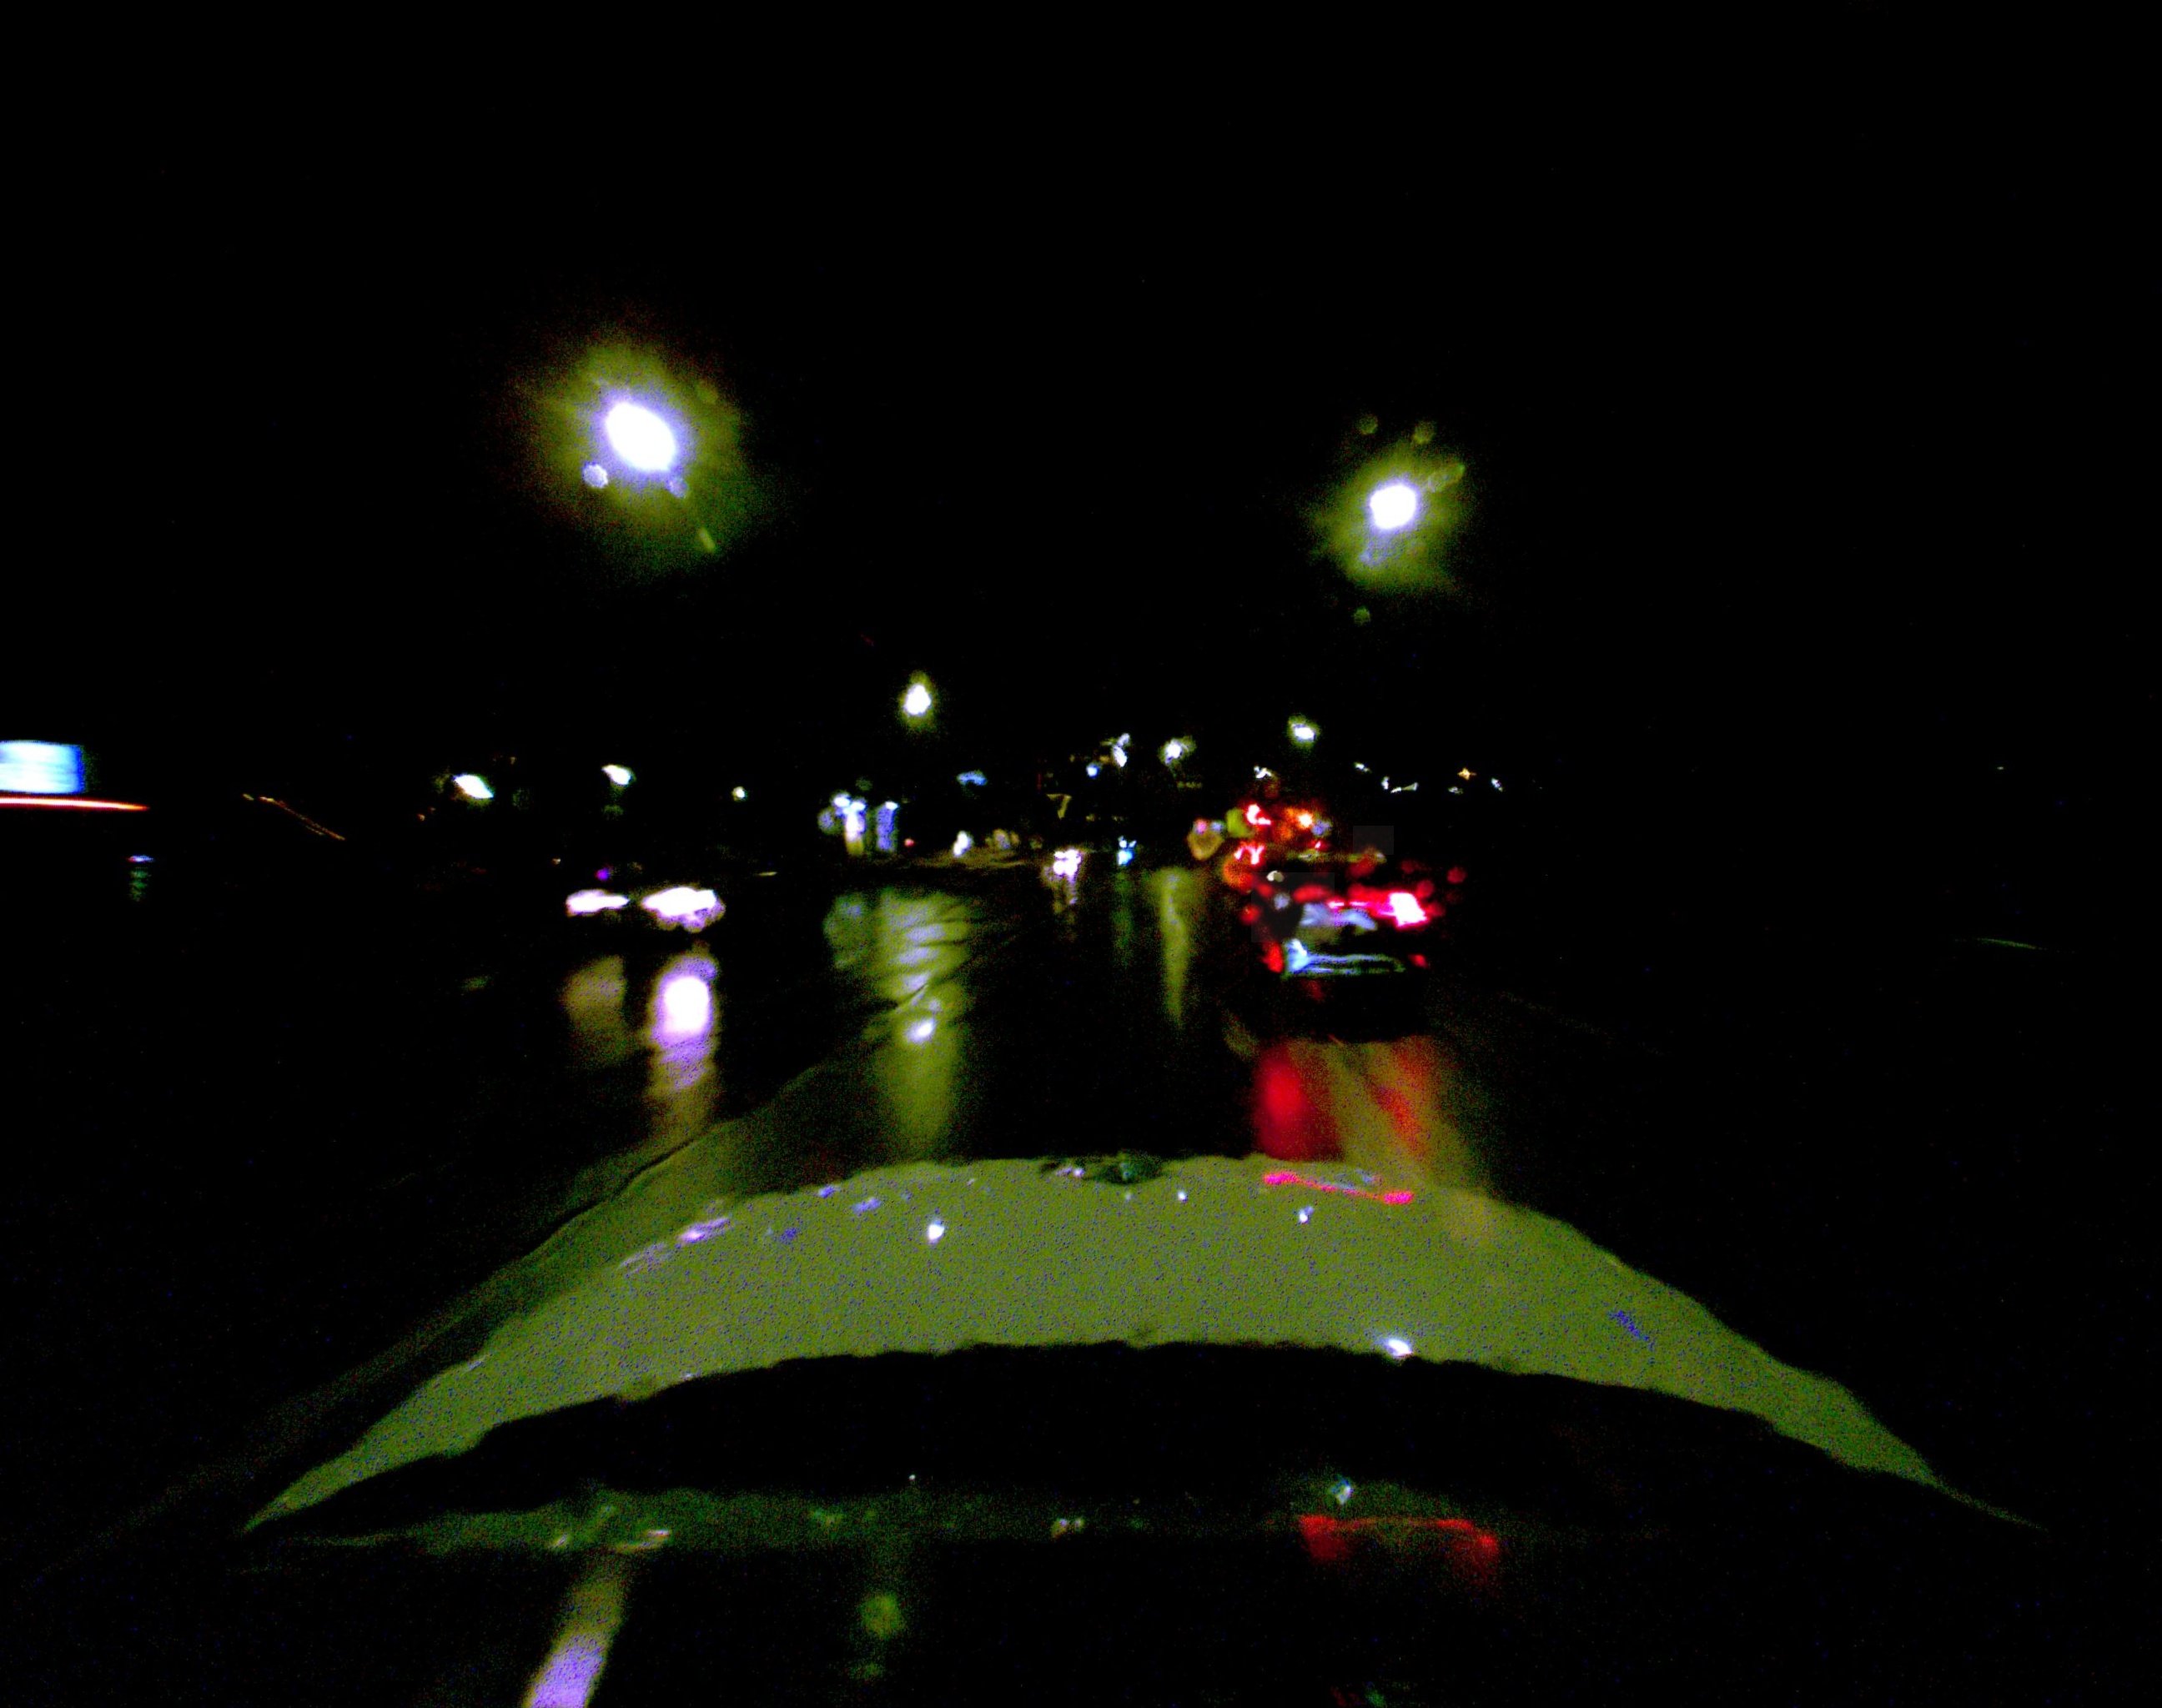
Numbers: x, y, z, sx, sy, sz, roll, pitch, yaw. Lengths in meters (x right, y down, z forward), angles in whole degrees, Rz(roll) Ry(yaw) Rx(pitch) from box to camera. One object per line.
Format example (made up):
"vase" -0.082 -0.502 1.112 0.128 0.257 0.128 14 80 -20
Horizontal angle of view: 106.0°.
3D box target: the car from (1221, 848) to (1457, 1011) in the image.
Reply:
"car" 2.800 0.716 9.787 1.983 1.524 4.007 1 0 7

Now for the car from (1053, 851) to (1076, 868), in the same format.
"car" -1.499 0.473 74.094 1.758 1.457 3.956 1 0 3

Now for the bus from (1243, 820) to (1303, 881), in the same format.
"bus" 11.027 -0.203 47.608 3.024 3.212 9.077 0 0 11

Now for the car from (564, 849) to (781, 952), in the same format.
"car" -6.933 0.703 14.386 1.821 1.503 4.184 -1 0 -3

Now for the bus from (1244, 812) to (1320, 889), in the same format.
"bus" 9.323 -0.160 38.717 3.024 3.212 9.077 0 0 11
